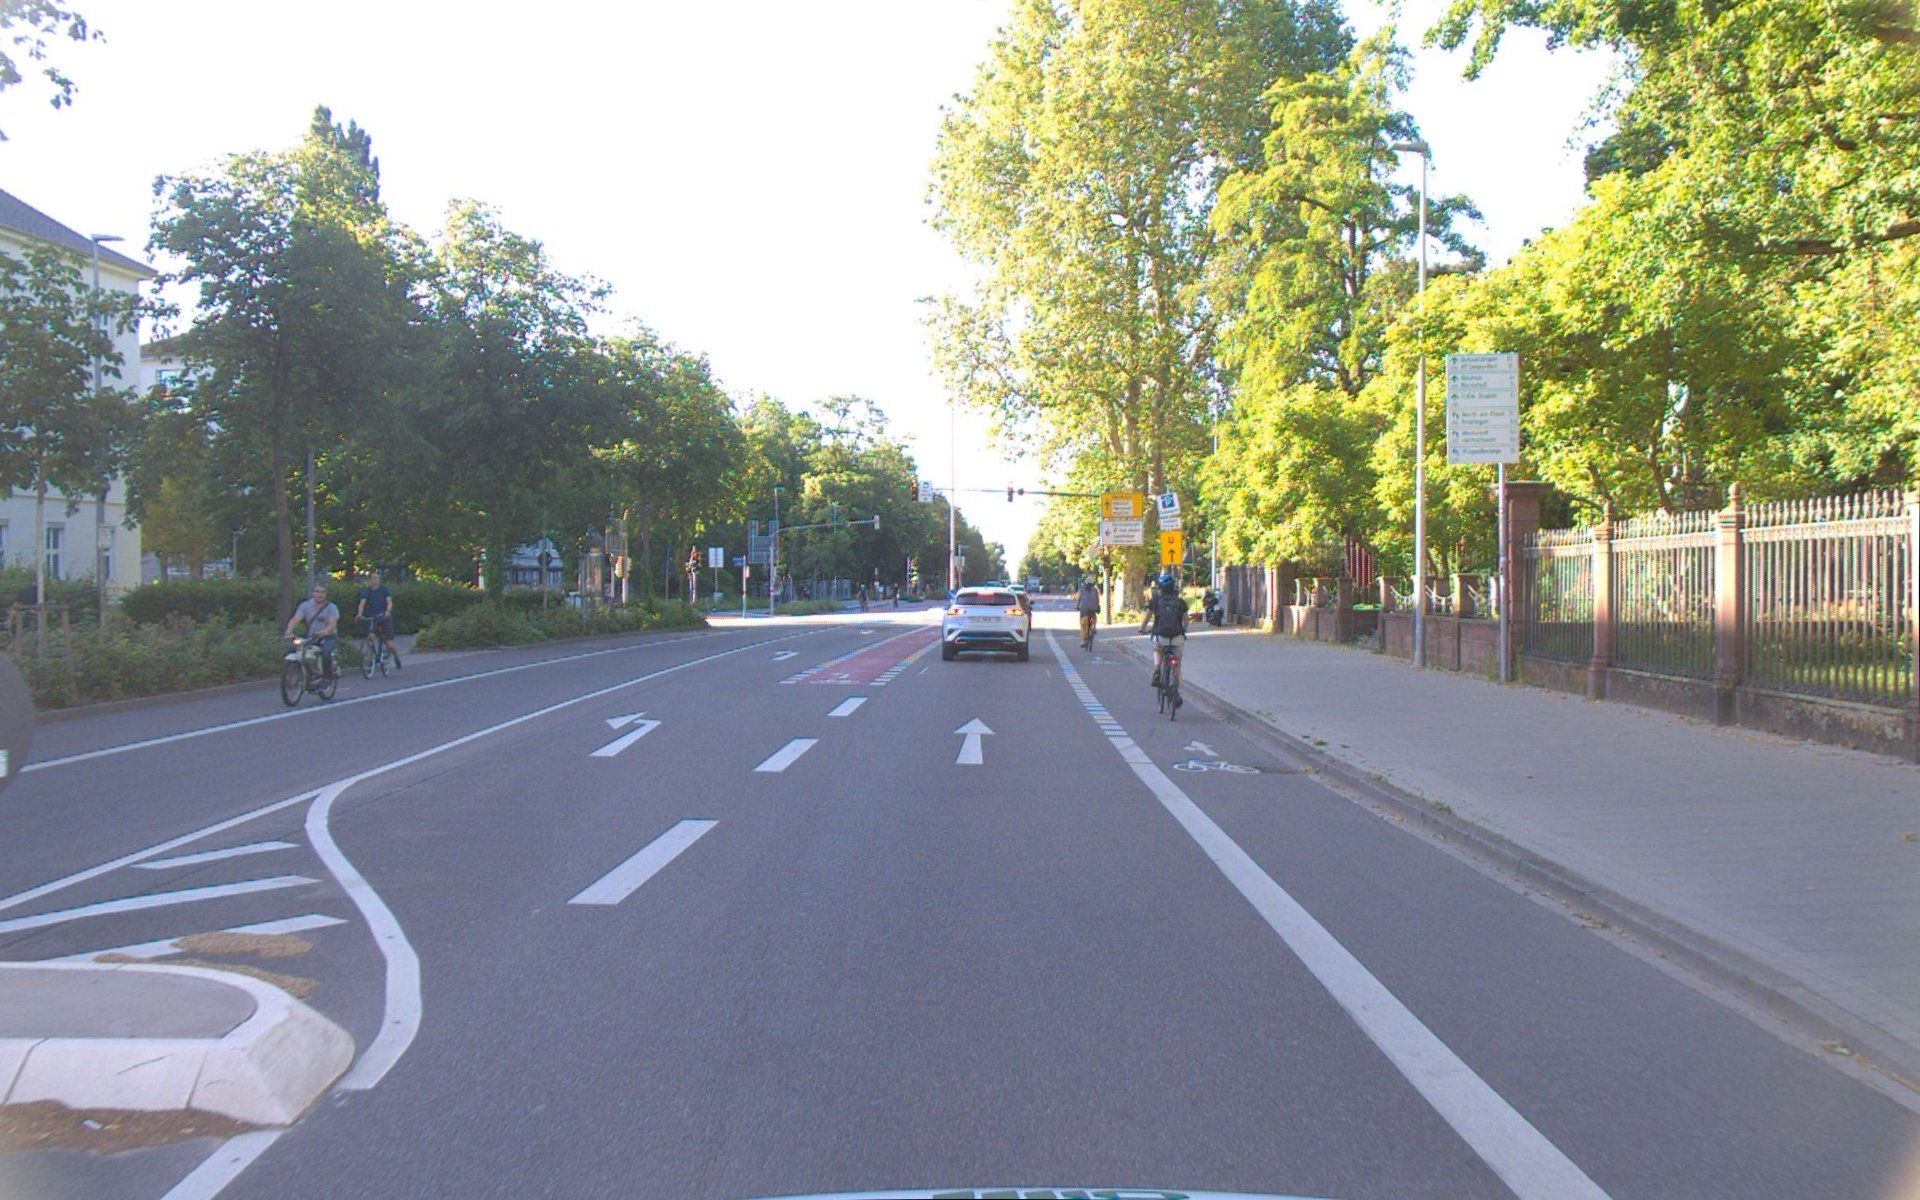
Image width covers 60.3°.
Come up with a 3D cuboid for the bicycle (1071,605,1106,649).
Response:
[{"bbox_3d":[3.088,0.639,39.819,0.737,1.044,1.870,1,0,2],"label":"bicycle"}]

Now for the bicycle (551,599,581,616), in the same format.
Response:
[{"bbox_3d":[-24.154,0.465,101.390,1.728,1.007,0.513,-1,0,9],"label":"bicycle"}]

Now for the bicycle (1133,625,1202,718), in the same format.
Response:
[{"bbox_3d":[2.601,0.871,20.902,0.630,1.042,2.213,1,0,2],"label":"bicycle"}]

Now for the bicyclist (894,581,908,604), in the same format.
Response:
[{"bbox_3d":[-4.518,-0.587,126.014,0.935,1.735,1.233,-1,0,3],"label":"bicyclist"}]

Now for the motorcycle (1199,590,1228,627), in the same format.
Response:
[{"bbox_3d":[8.597,0.277,56.149,0.648,1.188,2.328,-3,0,2],"label":"motorcycle"}]

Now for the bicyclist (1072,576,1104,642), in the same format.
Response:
[{"bbox_3d":[3.085,0.204,39.854,0.732,1.564,0.970,0,0,1],"label":"bicyclist"}]

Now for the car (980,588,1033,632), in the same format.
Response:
[{"bbox_3d":[1.748,0.344,62.135,1.889,1.560,4.001,-1,0,2],"label":"car"}]

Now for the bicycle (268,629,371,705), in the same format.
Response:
[{"bbox_3d":[-8.867,0.905,22.993,0.604,0.937,2.179,-1,1,-1],"label":"bicycle"}]

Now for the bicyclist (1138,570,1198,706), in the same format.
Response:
[{"bbox_3d":[2.592,0.460,20.709,0.623,1.642,1.284,0,0,2],"label":"bicyclist"}]

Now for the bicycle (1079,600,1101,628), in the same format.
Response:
[{"bbox_3d":[5.023,0.529,64.080,0.737,1.044,1.870,1,0,2],"label":"bicycle"}]

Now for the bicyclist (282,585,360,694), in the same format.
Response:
[{"bbox_3d":[-8.886,0.533,23.029,0.633,1.443,0.970,-3,1,-1],"label":"bicyclist"}]

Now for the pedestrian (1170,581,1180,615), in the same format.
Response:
[{"bbox_3d":[11.907,-0.098,91.500,0.472,1.823,0.432,-3,3,8],"label":"pedestrian"}]

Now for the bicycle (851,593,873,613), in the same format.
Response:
[{"bbox_3d":[-6.420,0.188,108.982,1.078,1.277,2.780,-1,0,4],"label":"bicycle"}]

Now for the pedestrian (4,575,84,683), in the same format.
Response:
[{"bbox_3d":[-16.391,0.513,29.610,0.838,1.884,1.001,-1,0,0],"label":"pedestrian"}]

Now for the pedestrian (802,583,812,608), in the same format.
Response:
[{"bbox_3d":[-11.959,-0.356,128.942,0.637,1.921,0.663,-1,0,4],"label":"pedestrian"}]

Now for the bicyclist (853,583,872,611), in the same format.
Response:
[{"bbox_3d":[-6.410,-0.209,109.077,1.069,1.785,1.098,-1,0,4],"label":"bicyclist"}]

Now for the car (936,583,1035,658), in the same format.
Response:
[{"bbox_3d":[0.567,0.395,35.232,1.952,1.478,4.001,-1,0,2],"label":"car"}]

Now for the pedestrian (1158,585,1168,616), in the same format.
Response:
[{"bbox_3d":[11.155,0.024,90.858,0.472,1.668,0.432,-3,3,8],"label":"pedestrian"}]

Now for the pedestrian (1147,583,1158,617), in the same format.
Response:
[{"bbox_3d":[10.566,0.002,90.842,0.472,1.823,0.432,-3,3,8],"label":"pedestrian"}]

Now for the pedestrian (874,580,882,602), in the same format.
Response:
[{"bbox_3d":[-7.609,-0.826,153.550,0.643,2.049,0.832,-1,0,0],"label":"pedestrian"}]

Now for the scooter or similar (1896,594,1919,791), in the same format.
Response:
[{"bbox_3d":[6.593,0.595,10.131,0.539,1.264,1.551,-1,0,-16],"label":"scooter or similar"}]

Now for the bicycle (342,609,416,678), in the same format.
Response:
[{"bbox_3d":[-10.484,0.769,29.923,0.585,1.140,2.026,-4,1,-1],"label":"bicycle"}]

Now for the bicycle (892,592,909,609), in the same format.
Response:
[{"bbox_3d":[-4.513,0.033,126.103,0.943,1.201,2.952,-1,0,4],"label":"bicycle"}]

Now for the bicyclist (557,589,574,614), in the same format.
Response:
[{"bbox_3d":[-24.180,0.078,101.394,0.902,1.535,0.507,-1,0,9],"label":"bicyclist"}]

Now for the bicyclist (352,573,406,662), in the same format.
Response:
[{"bbox_3d":[-10.506,0.308,29.923,0.616,1.549,0.724,-3,1,-1],"label":"bicyclist"}]

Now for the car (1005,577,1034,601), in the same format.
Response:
[{"bbox_3d":[4.061,-0.776,112.705,1.700,1.573,4.003,-1,1,6],"label":"car"}]

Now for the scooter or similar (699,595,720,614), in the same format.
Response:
[{"bbox_3d":[-15.891,0.262,105.008,0.500,1.164,1.700,-1,0,23],"label":"scooter or similar"}]

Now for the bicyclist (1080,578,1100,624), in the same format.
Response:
[{"bbox_3d":[5.028,0.027,64.020,0.734,1.780,0.843,0,0,1],"label":"bicyclist"}]

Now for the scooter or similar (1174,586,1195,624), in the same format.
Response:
[{"bbox_3d":[8.529,0.182,62.932,0.554,1.407,1.856,-1,0,0],"label":"scooter or similar"}]
